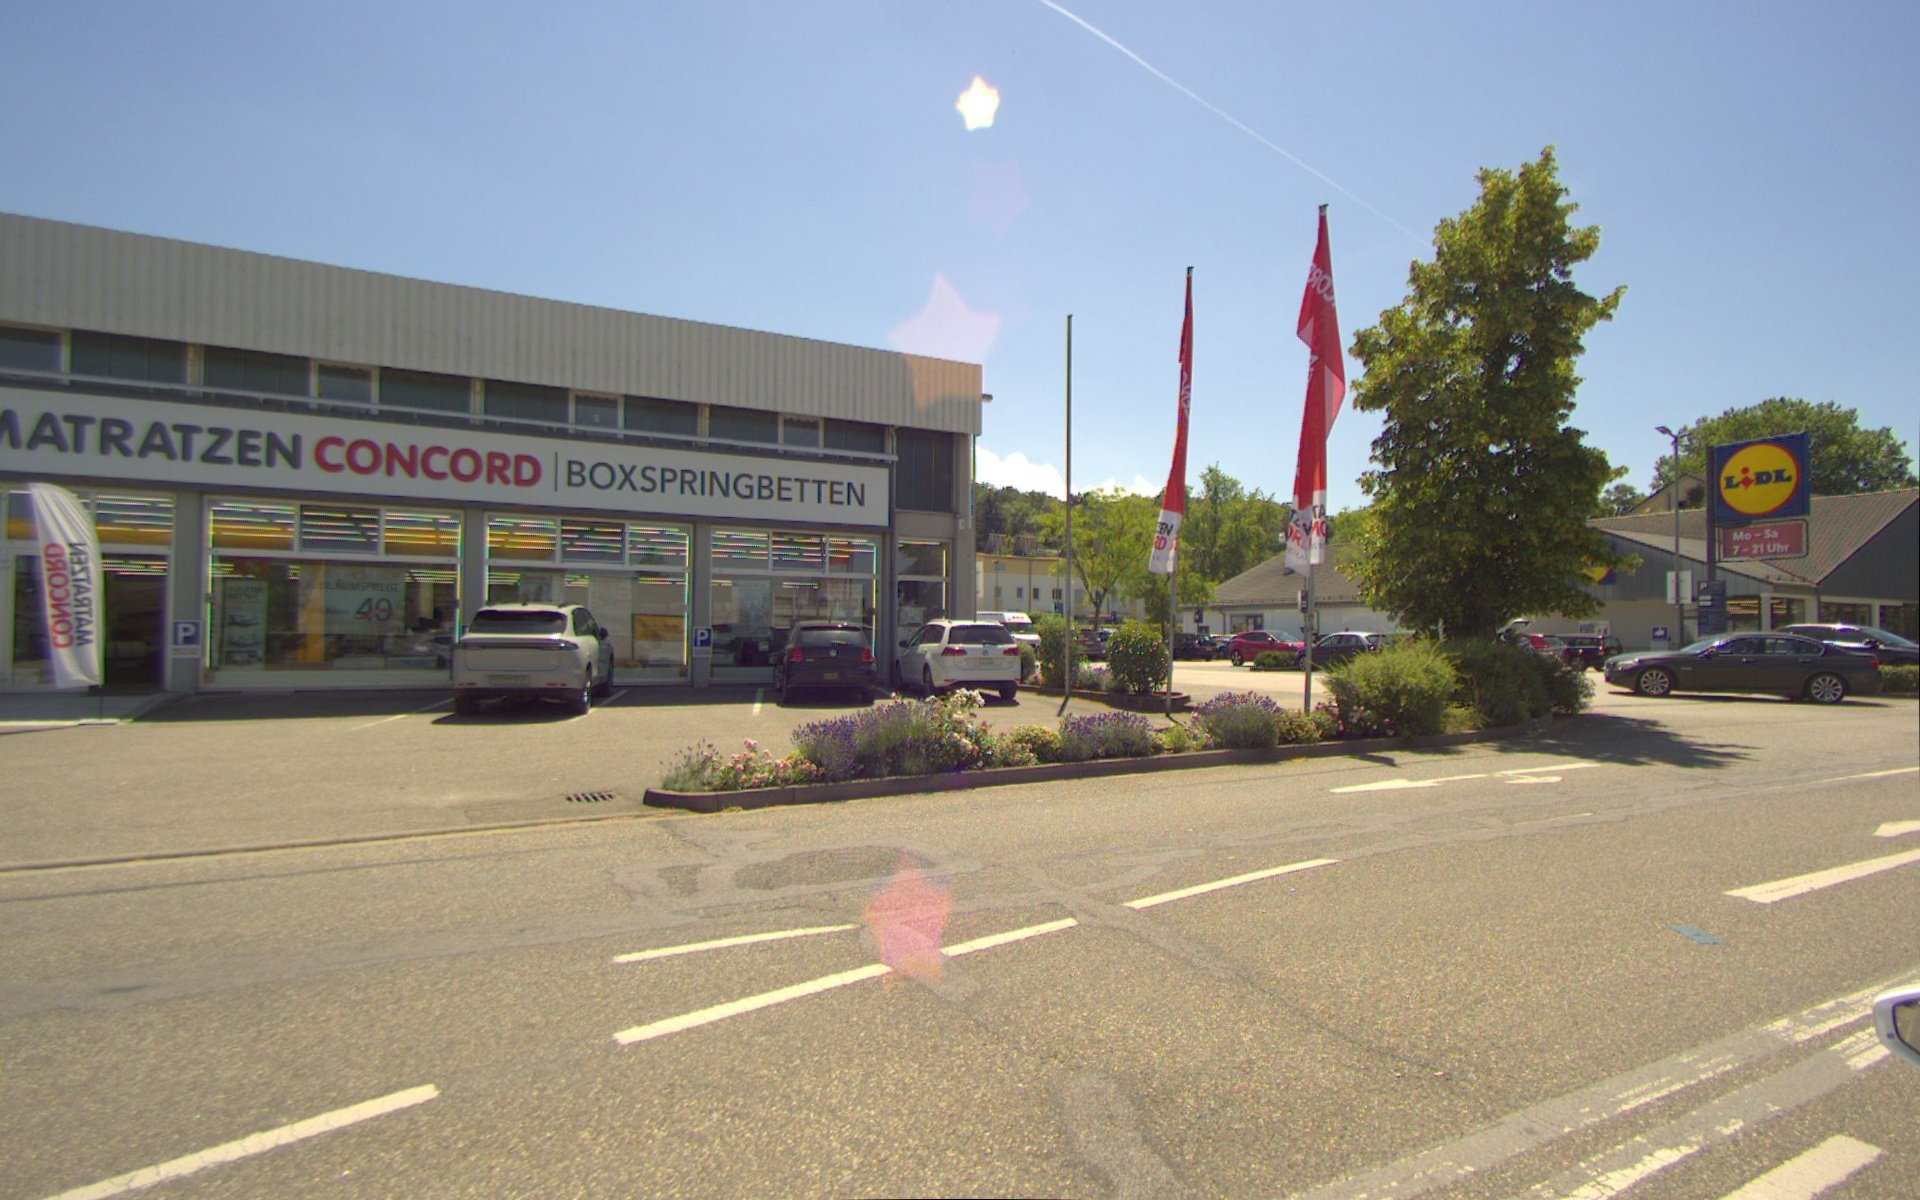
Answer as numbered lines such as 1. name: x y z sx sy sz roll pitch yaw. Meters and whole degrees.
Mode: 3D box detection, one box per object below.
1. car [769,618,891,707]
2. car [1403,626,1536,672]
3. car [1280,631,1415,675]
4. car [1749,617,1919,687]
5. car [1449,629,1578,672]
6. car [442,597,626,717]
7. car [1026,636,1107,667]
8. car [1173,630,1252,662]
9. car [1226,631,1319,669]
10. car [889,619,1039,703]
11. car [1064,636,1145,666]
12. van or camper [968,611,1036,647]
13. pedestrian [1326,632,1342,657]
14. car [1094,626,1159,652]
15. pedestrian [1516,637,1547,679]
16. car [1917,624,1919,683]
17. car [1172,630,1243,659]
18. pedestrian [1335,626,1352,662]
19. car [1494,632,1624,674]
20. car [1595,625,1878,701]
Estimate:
1. car: -2.550 1.093 18.923 1.965 1.494 3.629 1 -1 -12
2. car: 20.236 1.916 40.063 2.090 1.677 4.290 2 -1 -31
3. car: 13.657 1.828 35.614 1.752 1.387 4.207 2 -2 -35
4. car: 25.207 1.404 27.970 2.069 1.785 4.697 2 -1 -23
5. car: 22.452 2.015 40.880 1.807 1.550 4.290 2 -1 -31
6. car: -6.783 0.850 16.529 1.965 1.686 4.535 1 -1 -12
7. car: 5.320 2.585 50.785 1.752 1.387 4.207 2 -2 -35
8. car: 13.603 2.469 54.001 3.951 1.622 1.786 2 -1 -28
9. car: 13.185 2.087 42.543 1.632 1.506 3.588 1 -1 -30
10. car: -0.042 1.115 19.873 1.947 1.466 4.185 1 -1 -15
11. car: 7.480 2.625 52.297 1.752 1.387 4.207 2 -2 -35
12. van or camper: 2.379 1.626 57.678 1.985 1.962 4.344 2 -1 -28
13. pedestrian: 24.011 2.849 64.446 0.627 1.601 0.671 2 -1 -30
14. car: 10.907 2.574 65.837 3.951 1.622 1.786 2 -1 -29
15. pedestrian: 21.409 2.158 37.602 0.877 1.502 0.805 1 -1 40
16. car: 32.305 1.706 30.405 2.072 1.869 4.378 2 -1 -21
17. car: 14.667 2.639 59.499 3.951 1.622 1.786 2 -1 -28
18. pedestrian: 19.606 2.247 51.308 0.738 1.830 0.772 1 -1 19
19. car: 24.656 2.149 41.471 1.807 1.550 4.290 2 -1 -31
20. car: 16.895 1.330 22.192 4.600 1.419 1.937 1 -1 25
